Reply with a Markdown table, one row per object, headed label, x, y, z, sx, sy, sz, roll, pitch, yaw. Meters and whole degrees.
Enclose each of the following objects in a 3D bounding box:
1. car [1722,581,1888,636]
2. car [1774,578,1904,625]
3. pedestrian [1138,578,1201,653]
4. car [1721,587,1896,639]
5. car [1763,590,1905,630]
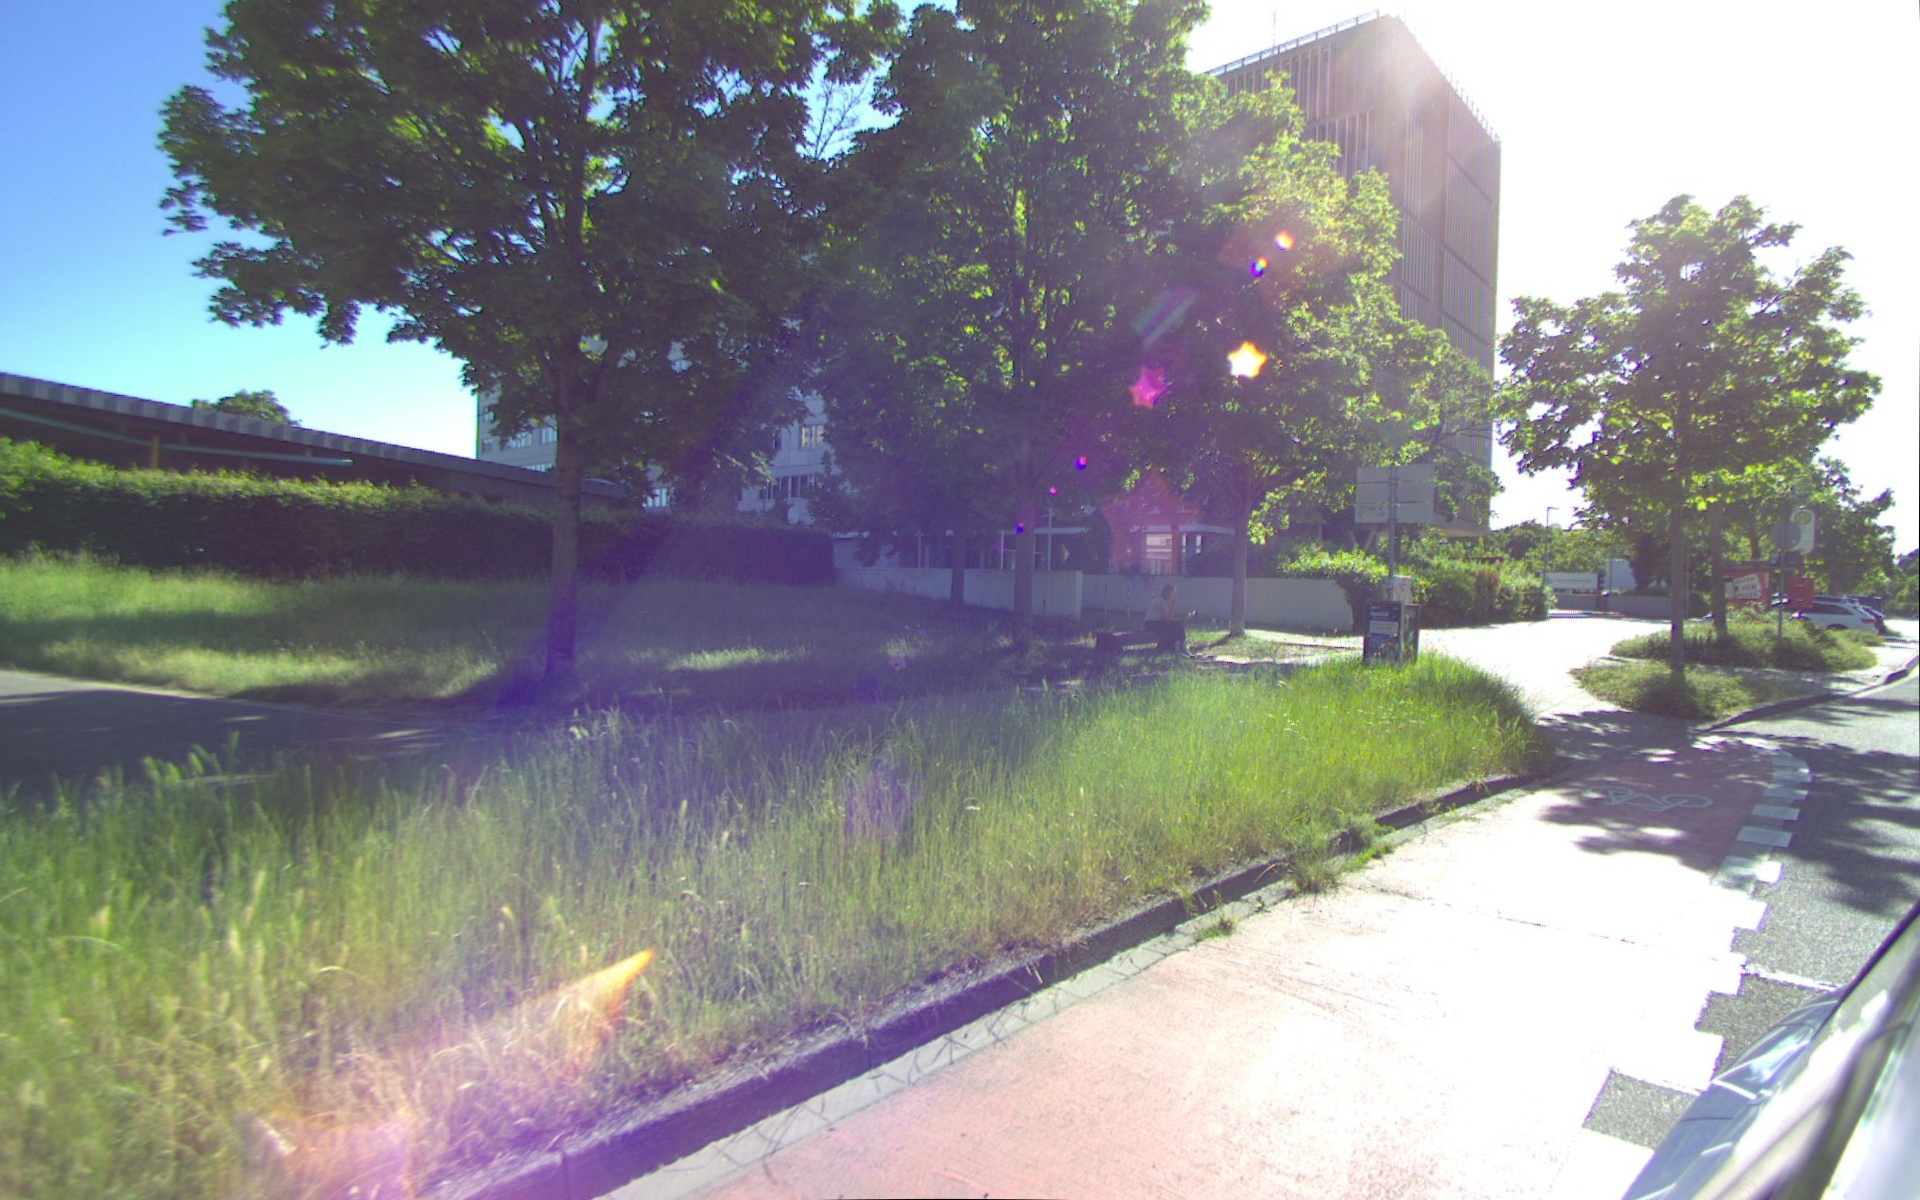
| label | x | y | z | sx | sy | sz | roll | pitch | yaw |
| --- | --- | --- | --- | --- | --- | --- | --- | --- | --- |
| car | 30.063 | 0.254 | 36.108 | 4.402 | 1.661 | 2.042 | 4 | 2 | 43 |
| car | 40.585 | 0.029 | 46.822 | 4.402 | 1.915 | 2.042 | 4 | 2 | 43 |
| pedestrian | 3.616 | 0.248 | 17.452 | 0.840 | 1.232 | 0.721 | 3 | 2 | 30 |
| car | 28.626 | 0.388 | 34.250 | 4.402 | 1.481 | 1.866 | 4 | 2 | 43 |
| car | 36.765 | 0.395 | 42.645 | 4.402 | 1.427 | 2.042 | 4 | 3 | 43 |
